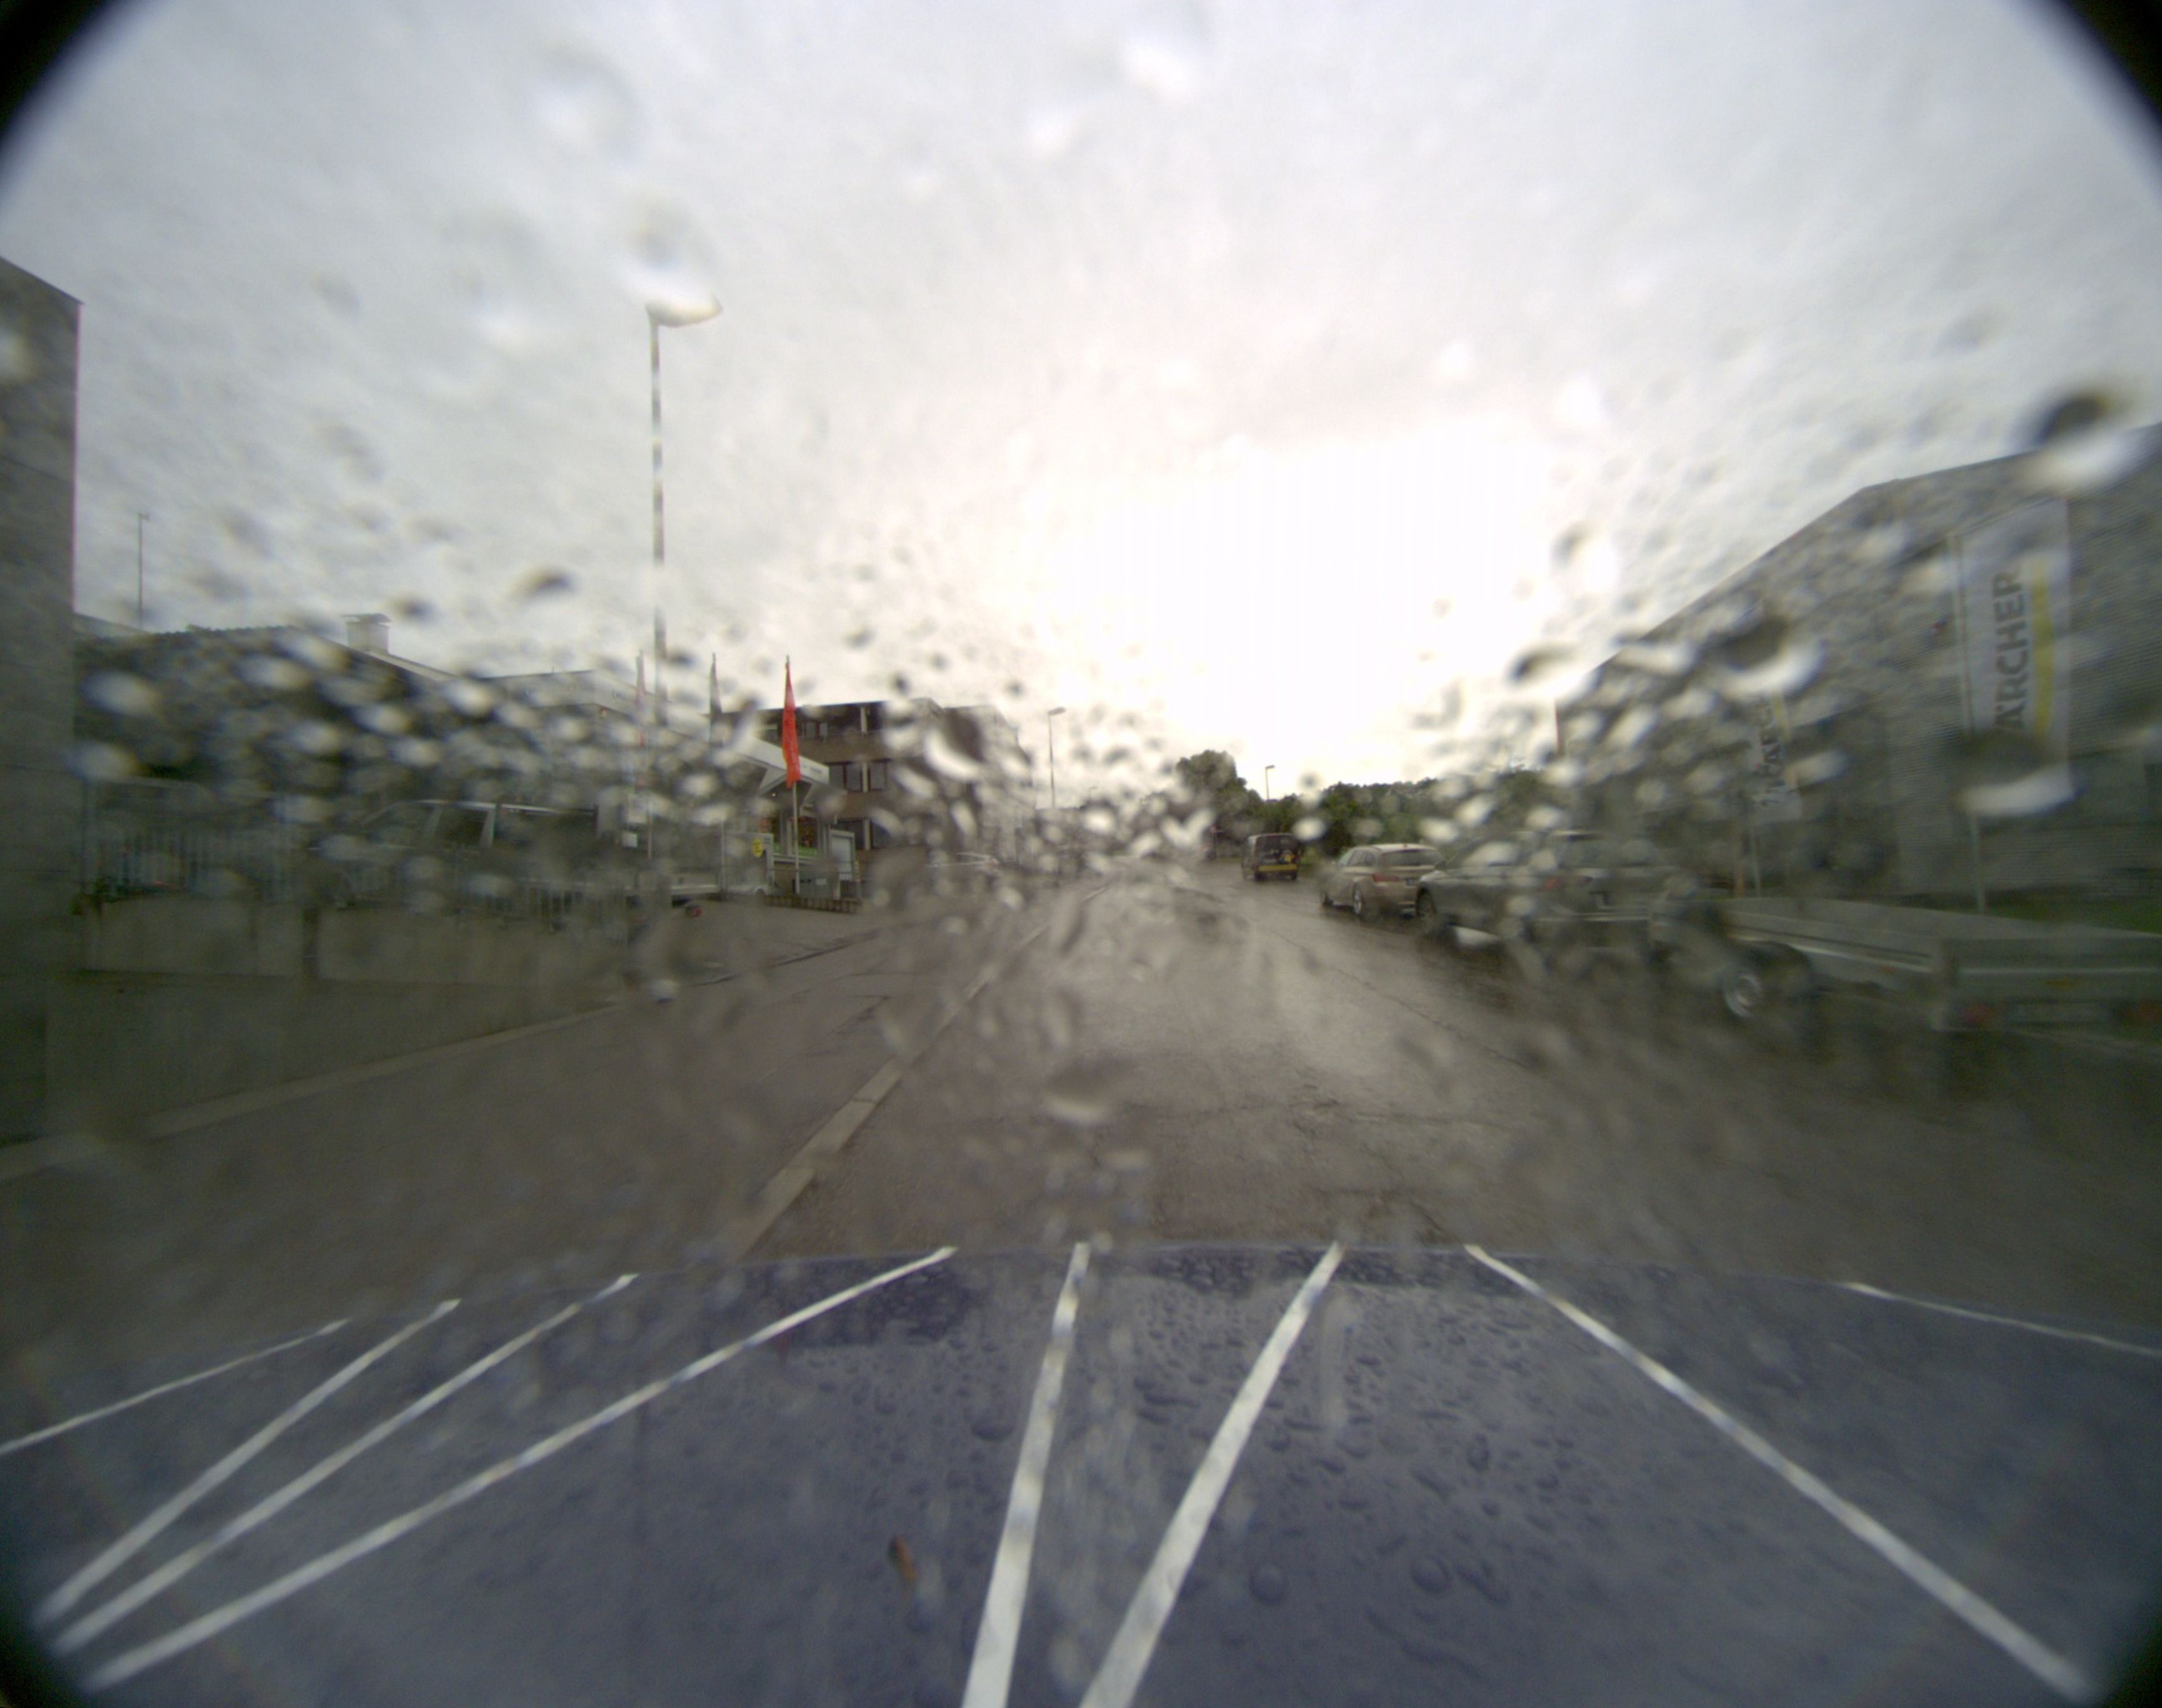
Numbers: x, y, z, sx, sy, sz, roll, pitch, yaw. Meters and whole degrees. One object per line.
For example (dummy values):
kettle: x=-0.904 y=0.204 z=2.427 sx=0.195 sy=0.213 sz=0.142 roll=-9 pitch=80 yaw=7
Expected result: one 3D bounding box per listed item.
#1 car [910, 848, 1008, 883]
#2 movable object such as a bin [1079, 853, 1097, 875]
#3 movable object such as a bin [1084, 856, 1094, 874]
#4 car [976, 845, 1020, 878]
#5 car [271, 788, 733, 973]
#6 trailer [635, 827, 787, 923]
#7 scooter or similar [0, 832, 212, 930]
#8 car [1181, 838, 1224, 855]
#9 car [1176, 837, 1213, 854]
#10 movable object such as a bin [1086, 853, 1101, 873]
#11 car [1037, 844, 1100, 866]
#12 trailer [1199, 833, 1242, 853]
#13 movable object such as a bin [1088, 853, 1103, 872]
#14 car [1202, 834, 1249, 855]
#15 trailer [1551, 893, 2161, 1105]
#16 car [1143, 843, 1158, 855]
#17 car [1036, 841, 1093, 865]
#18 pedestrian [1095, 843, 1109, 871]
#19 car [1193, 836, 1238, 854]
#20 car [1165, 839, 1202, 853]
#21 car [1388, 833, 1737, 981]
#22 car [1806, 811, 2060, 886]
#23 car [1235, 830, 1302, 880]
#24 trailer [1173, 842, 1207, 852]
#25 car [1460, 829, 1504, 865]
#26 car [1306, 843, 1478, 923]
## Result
car: x=-5.650 y=0.509 z=35.551 sx=4.130 sy=1.565 sz=2.003 roll=0 pitch=2 yaw=3
movable object such as a bin: x=0.377 y=0.548 z=41.225 sx=0.730 sy=1.107 sz=0.704 roll=-3 pitch=1 yaw=20
movable object such as a bin: x=0.443 y=0.608 z=42.326 sx=0.473 sy=0.961 sz=0.514 roll=-3 pitch=1 yaw=5
car: x=-4.844 y=0.412 z=44.934 sx=1.752 sy=1.740 sz=4.473 roll=-2 pitch=1 yaw=4
car: x=-8.425 y=0.311 z=11.377 sx=5.308 sy=2.002 sz=2.222 roll=5 pitch=2 yaw=5
trailer: x=-10.418 y=0.555 z=21.817 sx=1.891 sy=2.402 sz=4.310 roll=-2 pitch=0 yaw=5
scooter or similar: x=-13.708 y=0.338 z=10.439 sx=1.066 sy=1.217 sz=2.066 roll=1 pitch=-1 yaw=6
car: x=14.260 y=-0.865 z=89.260 sx=4.629 sy=1.581 sz=1.806 roll=-4 pitch=1 yaw=1
car: x=13.738 y=-1.009 z=92.185 sx=4.083 sy=1.712 sz=2.025 roll=-4 pitch=1 yaw=2
movable object such as a bin: x=0.735 y=0.510 z=43.174 sx=0.745 sy=1.060 sz=0.637 roll=-3 pitch=1 yaw=5
car: x=-0.902 y=0.054 z=57.875 sx=4.607 sy=1.530 sz=2.079 roll=-1 pitch=1 yaw=3
trailer: x=15.026 y=-1.198 z=81.861 sx=4.223 sy=1.973 sz=1.773 roll=-2 pitch=2 yaw=1
movable object such as a bin: x=0.833 y=0.489 z=43.903 sx=0.773 sy=1.024 sz=0.808 roll=-3 pitch=1 yaw=5
car: x=13.991 y=-0.939 z=73.889 sx=4.309 sy=1.895 sz=1.862 roll=-2 pitch=2 yaw=6
trailer: x=5.898 y=0.942 z=6.322 sx=1.684 sy=0.883 sz=3.897 roll=-2 pitch=1 yaw=2
car: x=9.221 y=-0.696 z=101.060 sx=1.751 sy=1.500 sz=3.934 roll=-3 pitch=1 yaw=2
car: x=-1.299 y=-0.072 z=60.976 sx=4.351 sy=1.763 sz=2.089 roll=-2 pitch=1 yaw=2
pedestrian: x=1.352 y=0.193 z=48.944 sx=0.738 sy=1.757 sz=0.808 roll=-3 pitch=1 yaw=5
car: x=13.971 y=-0.931 z=79.024 sx=4.207 sy=1.712 sz=1.754 roll=-2 pitch=2 yaw=-2
car: x=13.463 y=-1.075 z=100.013 sx=4.379 sy=1.712 sz=2.043 roll=-2 pitch=1 yaw=-3
car: x=6.219 y=0.525 z=10.681 sx=1.962 sy=1.568 sz=4.839 roll=-2 pitch=1 yaw=2
car: x=23.239 y=-0.088 z=20.957 sx=4.216 sy=1.761 sz=1.937 roll=-3 pitch=-2 yaw=16
car: x=7.702 y=-0.008 z=31.645 sx=1.920 sy=1.821 sz=4.848 roll=-3 pitch=1 yaw=5
trailer: x=13.583 y=-0.864 z=94.844 sx=3.951 sy=0.955 sz=2.000 roll=-3 pitch=0 yaw=-1
car: x=23.738 y=-0.345 z=45.055 sx=2.130 sy=1.910 sz=5.621 roll=-3 pitch=-2 yaw=27
car: x=6.672 y=0.514 z=17.045 sx=1.960 sy=1.453 sz=5.248 roll=-2 pitch=1 yaw=4
